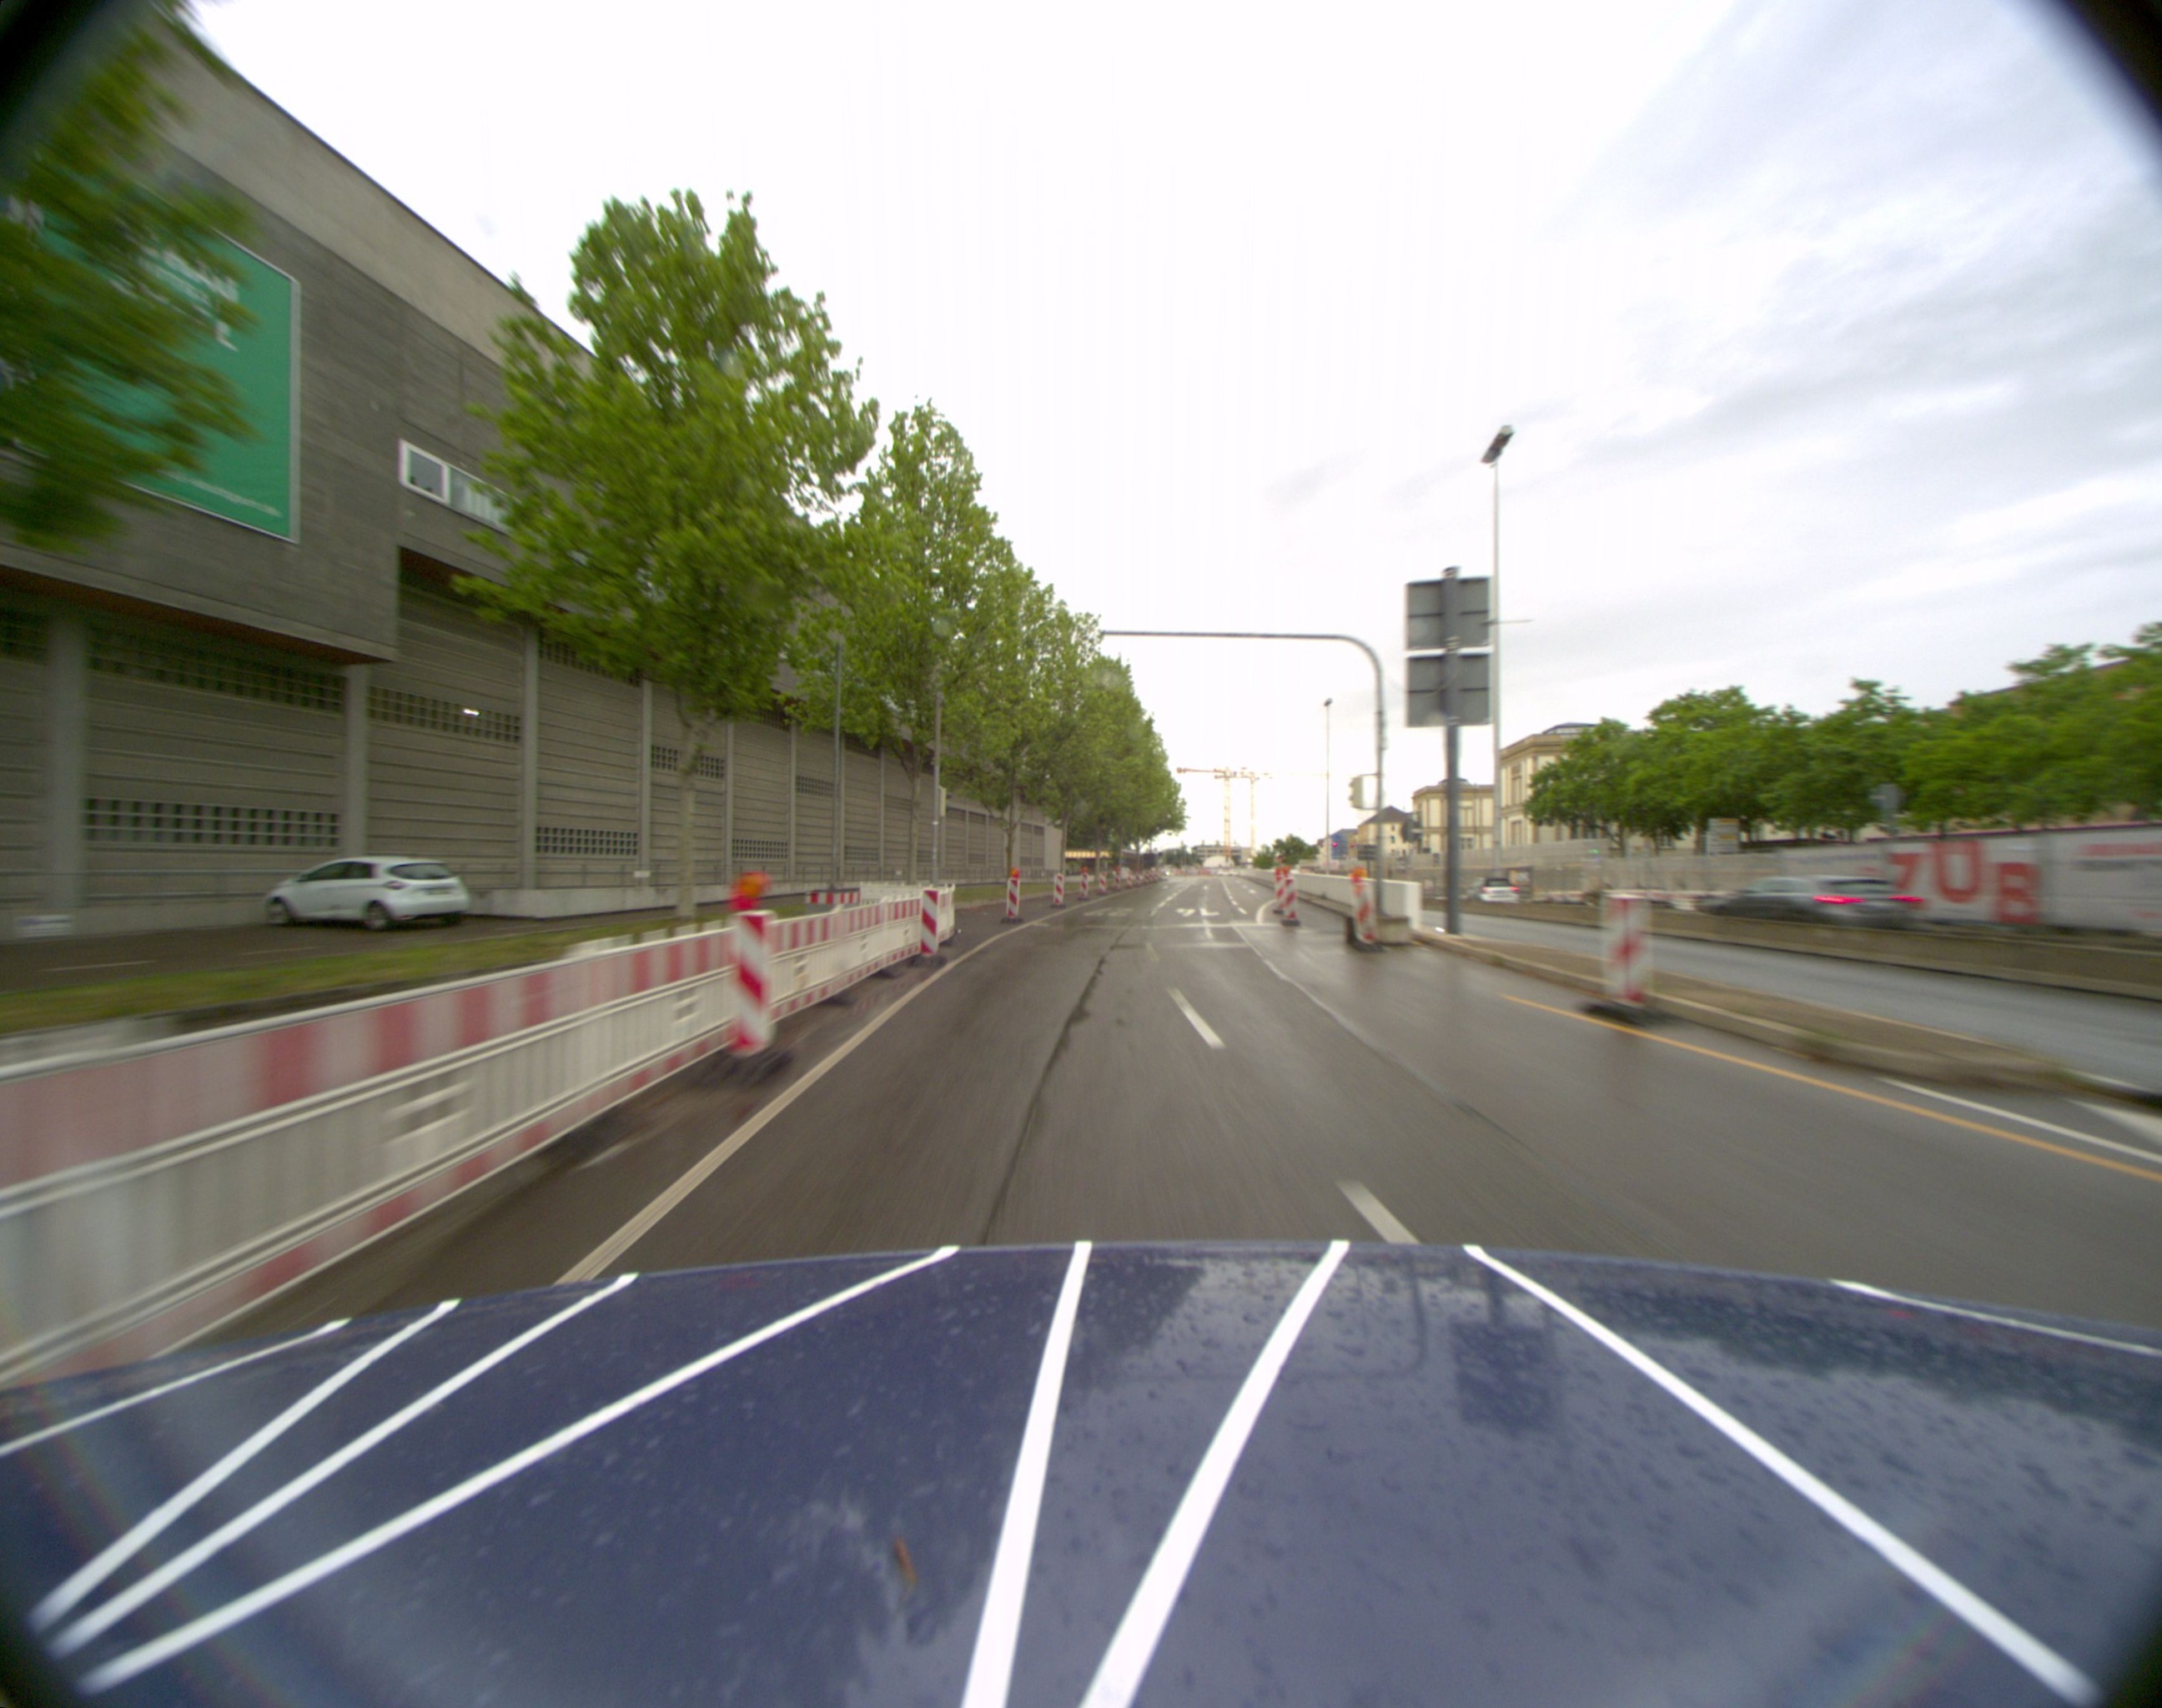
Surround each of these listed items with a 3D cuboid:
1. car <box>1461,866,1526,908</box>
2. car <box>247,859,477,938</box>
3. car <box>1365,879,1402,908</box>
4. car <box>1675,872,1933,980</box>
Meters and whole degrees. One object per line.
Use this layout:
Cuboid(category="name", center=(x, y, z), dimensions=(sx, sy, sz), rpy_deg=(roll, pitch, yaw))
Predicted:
Cuboid(category="car", center=(19.722, 1.556, 36.487), dimensions=(1.703, 1.857, 3.360), rpy_deg=(1, 0, 9))
Cuboid(category="car", center=(-15.856, 0.922, 16.840), dimensions=(3.844, 1.570, 1.780), rpy_deg=(1, 0, 11))
Cuboid(category="car", center=(23.258, 3.006, 58.554), dimensions=(1.901, 2.002, 4.004), rpy_deg=(1, 0, 10))
Cuboid(category="car", center=(16.362, 1.493, 17.633), dimensions=(1.911, 2.002, 4.762), rpy_deg=(1, 0, 9))
